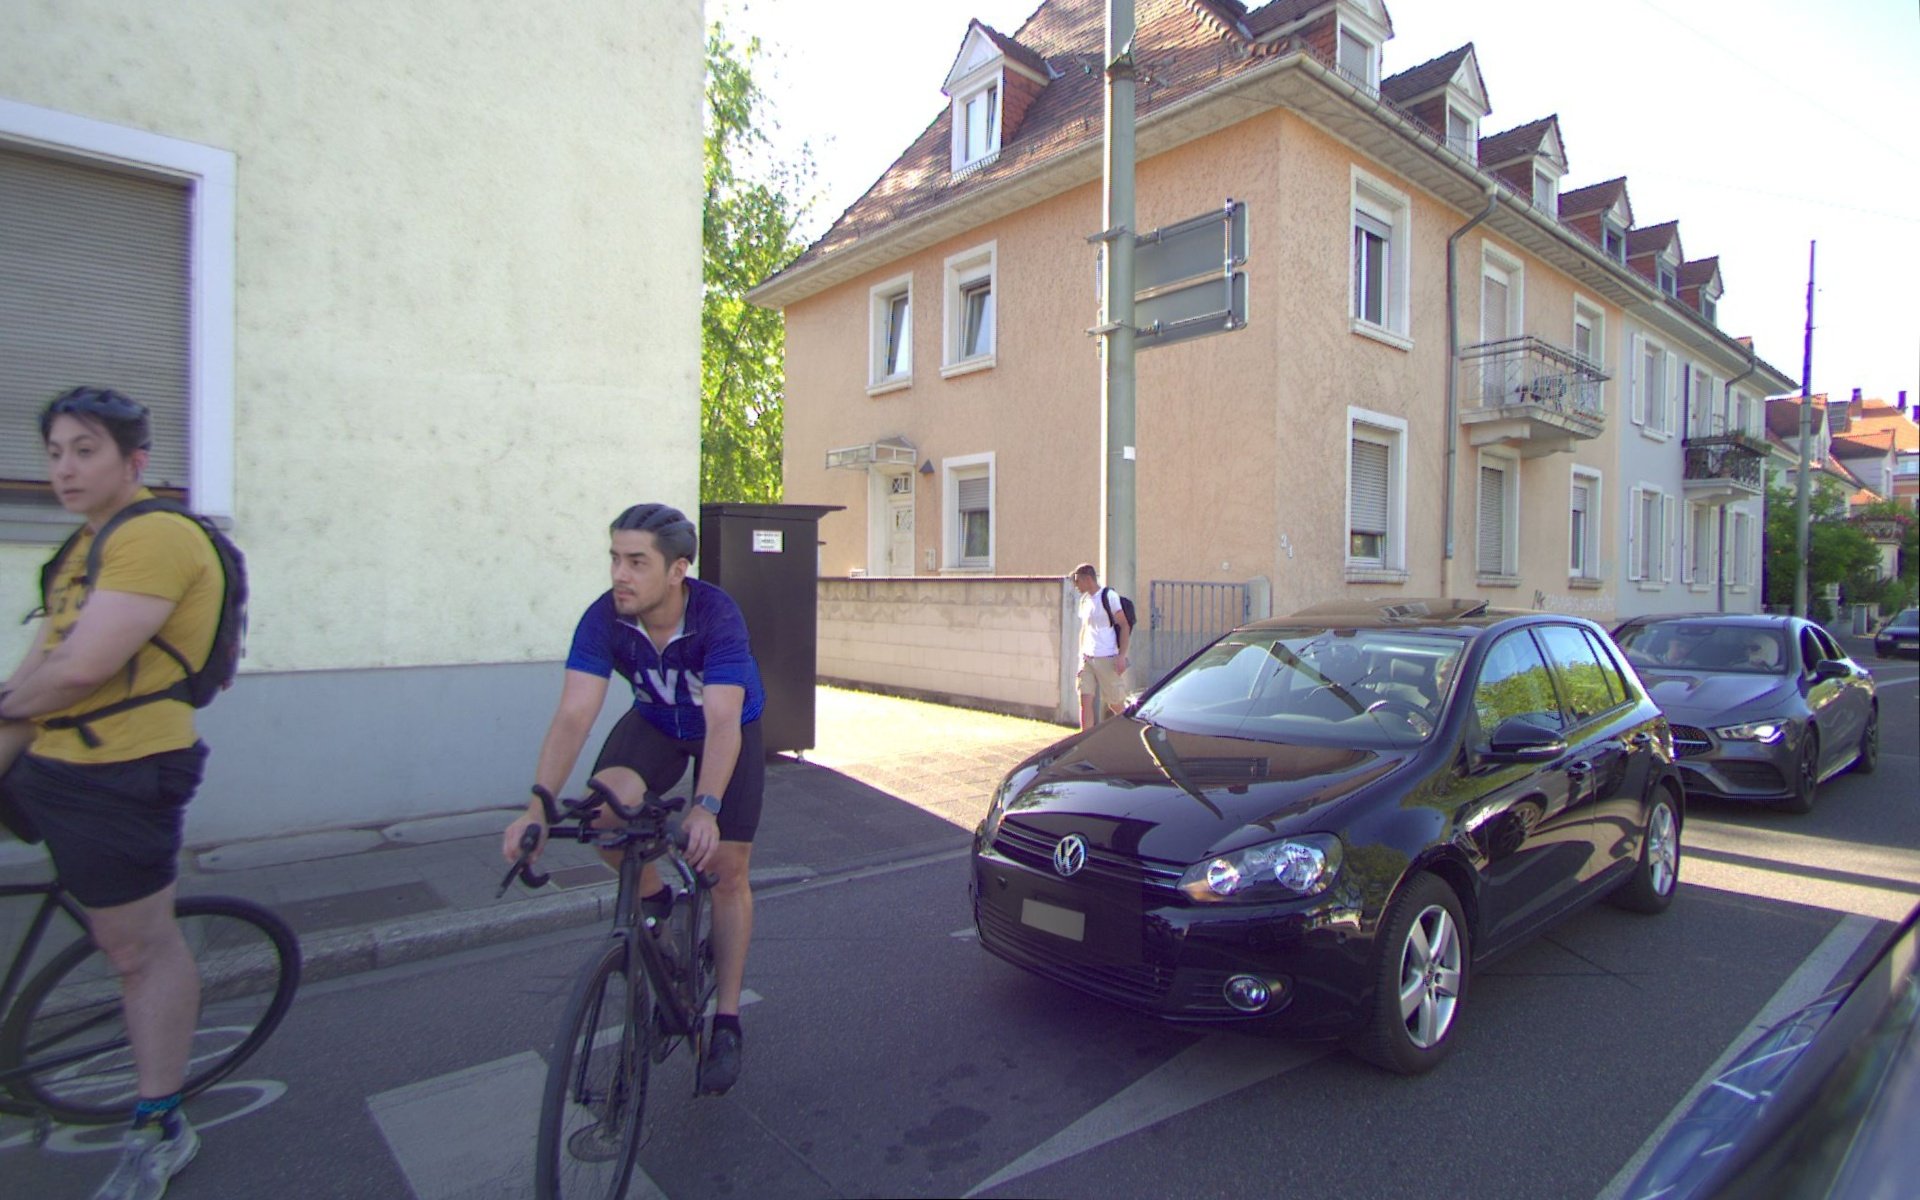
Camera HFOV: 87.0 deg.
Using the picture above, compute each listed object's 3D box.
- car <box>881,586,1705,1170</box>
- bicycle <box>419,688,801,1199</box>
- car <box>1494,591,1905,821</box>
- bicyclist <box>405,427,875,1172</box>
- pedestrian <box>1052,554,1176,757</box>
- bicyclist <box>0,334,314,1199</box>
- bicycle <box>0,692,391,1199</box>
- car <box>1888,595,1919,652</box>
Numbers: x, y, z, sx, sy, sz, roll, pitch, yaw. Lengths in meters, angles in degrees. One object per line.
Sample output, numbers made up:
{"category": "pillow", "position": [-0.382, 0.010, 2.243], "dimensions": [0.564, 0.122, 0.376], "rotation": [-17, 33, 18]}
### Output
{"category": "car", "position": [1.734, 0.676, 4.485], "dimensions": [3.921, 1.456, 1.716], "rotation": [-1, 0, -41]}
{"category": "bicycle", "position": [-0.805, 0.918, 2.749], "dimensions": [0.545, 1.088, 1.628], "rotation": [3, 3, -4]}
{"category": "car", "position": [6.385, 0.691, 8.536], "dimensions": [4.410, 1.449, 1.824], "rotation": [1, 0, -40]}
{"category": "bicyclist", "position": [-0.780, 0.468, 2.723], "dimensions": [1.001, 1.714, 0.731], "rotation": [3, 3, -4]}
{"category": "pedestrian", "position": [1.325, 0.443, 8.740], "dimensions": [0.748, 1.624, 0.610], "rotation": [0, 6, -42]}
{"category": "bicyclist", "position": [-2.228, 0.426, 2.560], "dimensions": [0.777, 1.991, 0.768], "rotation": [0, 0, 36]}
{"category": "bicycle", "position": [-2.424, 0.866, 2.393], "dimensions": [0.777, 1.120, 1.720], "rotation": [0, 0, 36]}
{"category": "car", "position": [26.752, 0.605, 27.443], "dimensions": [4.258, 1.448, 1.824], "rotation": [-1, 0, -40]}
